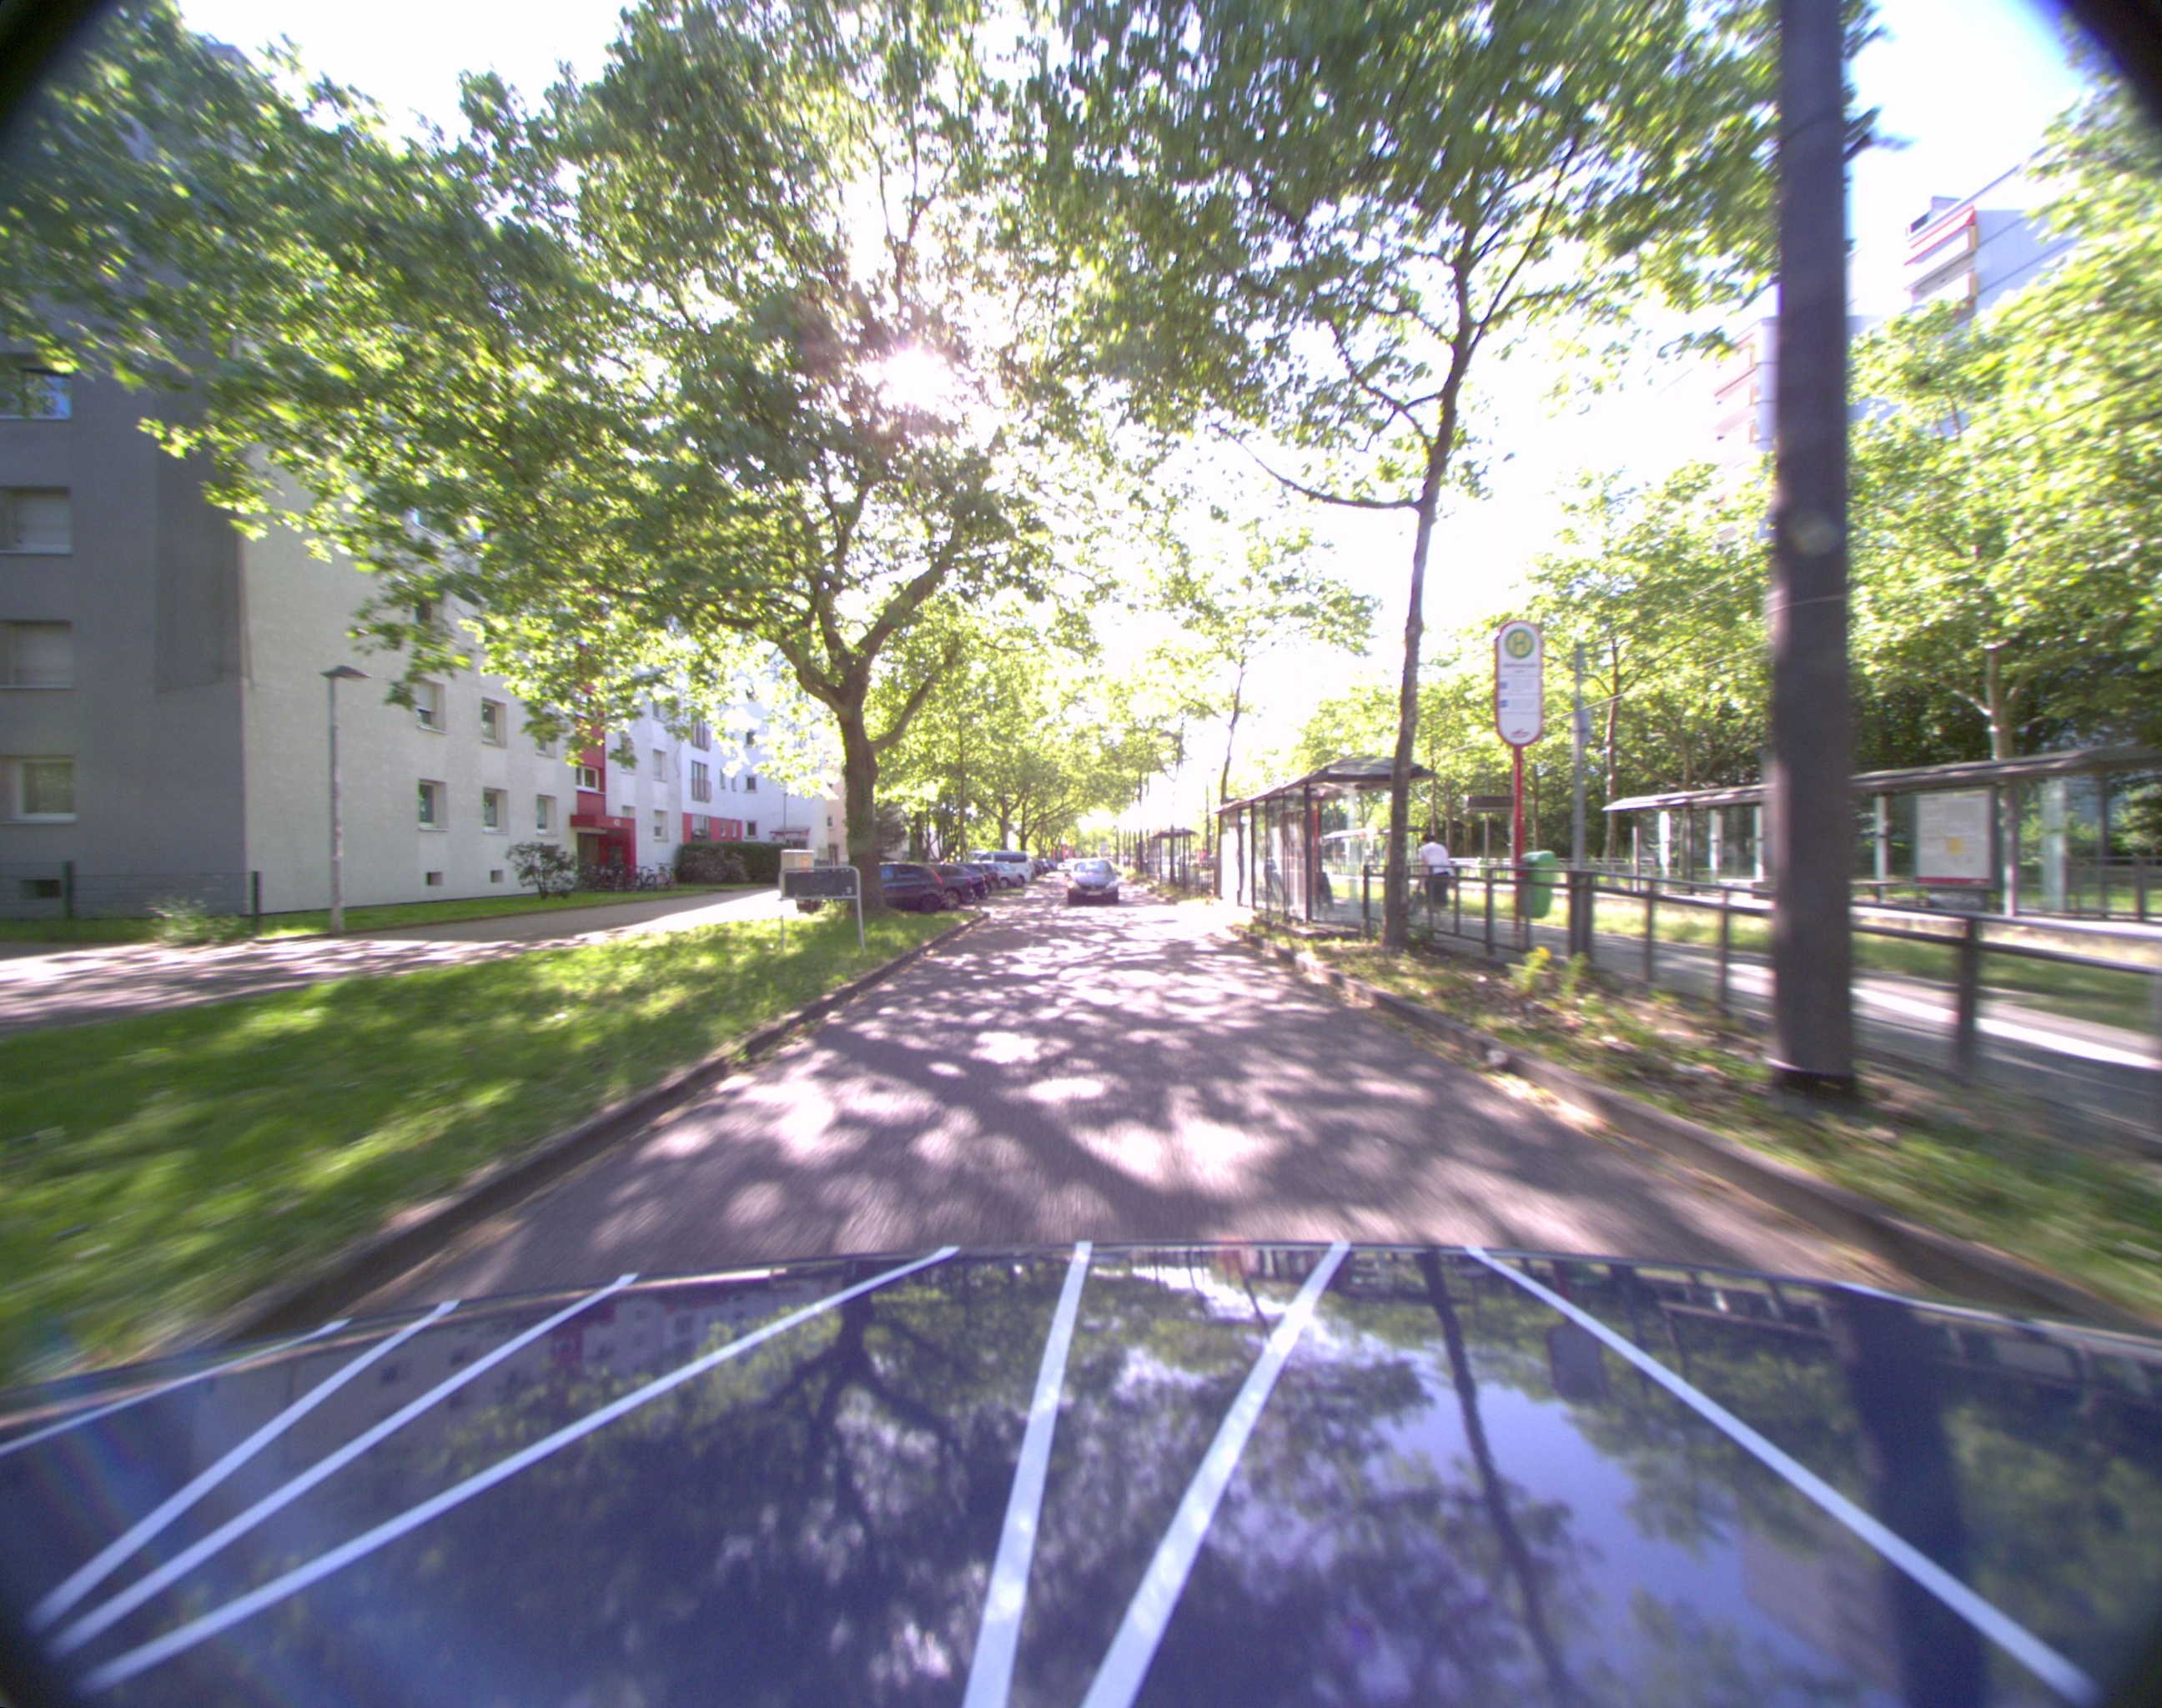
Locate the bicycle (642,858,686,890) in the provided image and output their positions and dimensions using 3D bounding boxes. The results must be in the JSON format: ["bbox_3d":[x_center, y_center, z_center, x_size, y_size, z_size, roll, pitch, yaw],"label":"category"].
[{"bbox_3d":[-15.007,0.716,27.392,0.591,1.101,1.800,-1,0,1],"label":"bicycle"}]

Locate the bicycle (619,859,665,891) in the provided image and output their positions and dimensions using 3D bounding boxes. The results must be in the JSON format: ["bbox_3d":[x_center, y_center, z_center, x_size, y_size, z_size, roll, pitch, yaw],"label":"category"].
[{"bbox_3d":[-15.797,0.731,27.403,0.591,1.101,1.800,-1,0,1],"label":"bicycle"}]

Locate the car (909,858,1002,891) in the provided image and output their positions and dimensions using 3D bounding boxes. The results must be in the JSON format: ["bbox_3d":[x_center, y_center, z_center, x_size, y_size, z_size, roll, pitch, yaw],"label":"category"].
[{"bbox_3d":[-5.866,0.950,35.805,3.932,1.408,1.795,1,0,-42],"label":"car"}]

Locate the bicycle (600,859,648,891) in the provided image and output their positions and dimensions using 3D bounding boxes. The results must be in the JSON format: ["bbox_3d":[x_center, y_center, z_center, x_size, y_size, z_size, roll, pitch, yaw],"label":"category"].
[{"bbox_3d":[-16.445,0.746,27.373,0.591,1.101,1.800,-1,0,1],"label":"bicycle"}]

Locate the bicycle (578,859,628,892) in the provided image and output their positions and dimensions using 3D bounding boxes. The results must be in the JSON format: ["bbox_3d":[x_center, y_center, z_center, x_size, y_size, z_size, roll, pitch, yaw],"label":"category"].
[{"bbox_3d":[-17.107,0.755,27.234,0.591,1.101,1.800,-1,0,1],"label":"bicycle"}]

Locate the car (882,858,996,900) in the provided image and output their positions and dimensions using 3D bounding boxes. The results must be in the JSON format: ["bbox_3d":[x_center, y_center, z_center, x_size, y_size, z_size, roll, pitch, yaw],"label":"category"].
[{"bbox_3d":[-5.482,0.948,29.621,4.009,1.459,1.777,1,0,-42],"label":"car"}]

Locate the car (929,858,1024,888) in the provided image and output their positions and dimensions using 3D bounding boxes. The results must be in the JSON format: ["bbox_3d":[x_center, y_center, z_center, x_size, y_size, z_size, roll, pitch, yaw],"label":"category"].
[{"bbox_3d":[-5.353,0.950,39.170,4.600,1.415,1.795,1,0,-41],"label":"car"}]

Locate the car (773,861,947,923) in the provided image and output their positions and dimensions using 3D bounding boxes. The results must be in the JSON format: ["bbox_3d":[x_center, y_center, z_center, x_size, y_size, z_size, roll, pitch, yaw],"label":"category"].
[{"bbox_3d":[-5.760,0.942,20.109,4.009,1.453,1.794,1,0,-44],"label":"car"}]

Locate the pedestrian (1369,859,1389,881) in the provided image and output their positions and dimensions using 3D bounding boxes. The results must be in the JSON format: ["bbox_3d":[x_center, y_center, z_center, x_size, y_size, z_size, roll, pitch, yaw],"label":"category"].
[{"bbox_3d":[16.336,0.851,41.616,0.768,1.176,0.763,1,0,1],"label":"pedestrian"}]

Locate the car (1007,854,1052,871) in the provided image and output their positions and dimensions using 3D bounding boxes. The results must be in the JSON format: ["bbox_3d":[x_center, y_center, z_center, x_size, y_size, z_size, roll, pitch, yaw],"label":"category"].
[{"bbox_3d":[-4.945,0.806,73.137,4.008,1.566,1.795,1,0,-40],"label":"car"}]

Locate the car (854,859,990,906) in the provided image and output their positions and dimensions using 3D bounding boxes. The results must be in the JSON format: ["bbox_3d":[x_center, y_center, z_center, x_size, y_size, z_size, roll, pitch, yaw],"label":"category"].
[{"bbox_3d":[-5.502,0.963,26.572,4.266,1.453,1.795,1,0,-39],"label":"car"}]

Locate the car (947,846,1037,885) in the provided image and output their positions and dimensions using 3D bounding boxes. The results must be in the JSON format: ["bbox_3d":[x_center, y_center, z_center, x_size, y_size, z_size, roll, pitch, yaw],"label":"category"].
[{"bbox_3d":[-4.971,0.638,42.732,4.600,2.040,2.011,1,0,-39],"label":"car"}]

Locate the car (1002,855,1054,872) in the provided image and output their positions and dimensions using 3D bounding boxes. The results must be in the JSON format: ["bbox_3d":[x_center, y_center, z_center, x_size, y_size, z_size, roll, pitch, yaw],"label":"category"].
[{"bbox_3d":[-4.719,0.853,68.674,4.600,1.414,1.795,1,0,-44],"label":"car"}]

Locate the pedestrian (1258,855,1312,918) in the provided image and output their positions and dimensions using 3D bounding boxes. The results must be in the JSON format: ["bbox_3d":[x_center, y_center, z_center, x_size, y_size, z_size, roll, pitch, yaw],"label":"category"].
[{"bbox_3d":[4.167,0.648,15.565,0.857,1.236,0.850,-2,0,2],"label":"pedestrian"}]

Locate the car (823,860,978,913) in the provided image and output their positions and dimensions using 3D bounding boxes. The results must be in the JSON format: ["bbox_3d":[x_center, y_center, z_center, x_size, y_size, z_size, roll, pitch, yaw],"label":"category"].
[{"bbox_3d":[-5.493,0.972,23.411,4.266,1.453,1.795,1,0,-39],"label":"car"}]

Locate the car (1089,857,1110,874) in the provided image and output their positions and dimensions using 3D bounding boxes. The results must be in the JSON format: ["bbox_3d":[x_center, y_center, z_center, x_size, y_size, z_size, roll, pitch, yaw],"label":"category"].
[{"bbox_3d":[1.696,1.034,70.950,1.799,1.529,4.000,0,0,-1],"label":"car"}]

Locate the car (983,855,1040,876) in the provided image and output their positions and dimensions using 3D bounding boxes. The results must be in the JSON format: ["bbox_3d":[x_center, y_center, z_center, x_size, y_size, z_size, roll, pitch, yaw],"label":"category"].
[{"bbox_3d":[-5.299,0.893,58.239,4.009,1.580,1.795,1,0,-42],"label":"car"}]

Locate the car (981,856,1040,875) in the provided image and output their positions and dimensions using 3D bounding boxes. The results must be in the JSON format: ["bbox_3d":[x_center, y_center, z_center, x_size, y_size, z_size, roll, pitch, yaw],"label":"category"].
[{"bbox_3d":[-5.710,0.954,61.559,4.418,1.420,1.946,1,0,-38],"label":"car"}]

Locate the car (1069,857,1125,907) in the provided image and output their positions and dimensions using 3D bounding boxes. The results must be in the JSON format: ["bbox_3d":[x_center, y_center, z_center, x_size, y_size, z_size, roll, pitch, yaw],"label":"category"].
[{"bbox_3d":[0.537,0.923,26.490,1.799,1.580,3.763,-1,0,1],"label":"car"}]

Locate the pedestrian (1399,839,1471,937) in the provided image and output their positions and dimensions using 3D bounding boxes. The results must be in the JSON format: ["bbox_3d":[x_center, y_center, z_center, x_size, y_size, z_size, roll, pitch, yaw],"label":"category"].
[{"bbox_3d":[5.334,0.498,11.480,0.726,1.409,0.682,-2,0,0],"label":"pedestrian"}]

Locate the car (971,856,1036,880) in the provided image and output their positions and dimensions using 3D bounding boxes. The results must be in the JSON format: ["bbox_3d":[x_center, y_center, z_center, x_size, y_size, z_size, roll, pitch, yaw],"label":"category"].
[{"bbox_3d":[-5.236,0.951,51.903,1.794,1.501,4.222,2,0,43],"label":"car"}]

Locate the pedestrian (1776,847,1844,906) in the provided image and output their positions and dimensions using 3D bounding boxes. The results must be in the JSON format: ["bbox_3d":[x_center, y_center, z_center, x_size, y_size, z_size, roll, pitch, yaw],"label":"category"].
[{"bbox_3d":[15.746,0.480,16.427,0.780,1.230,0.722,-1,0,-1],"label":"pedestrian"}]

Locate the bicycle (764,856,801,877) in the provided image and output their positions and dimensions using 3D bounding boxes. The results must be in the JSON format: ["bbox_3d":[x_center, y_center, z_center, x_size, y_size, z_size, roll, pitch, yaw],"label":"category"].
[{"bbox_3d":[-16.857,0.718,42.897,1.799,1.123,0.550,2,0,-4],"label":"bicycle"}]
